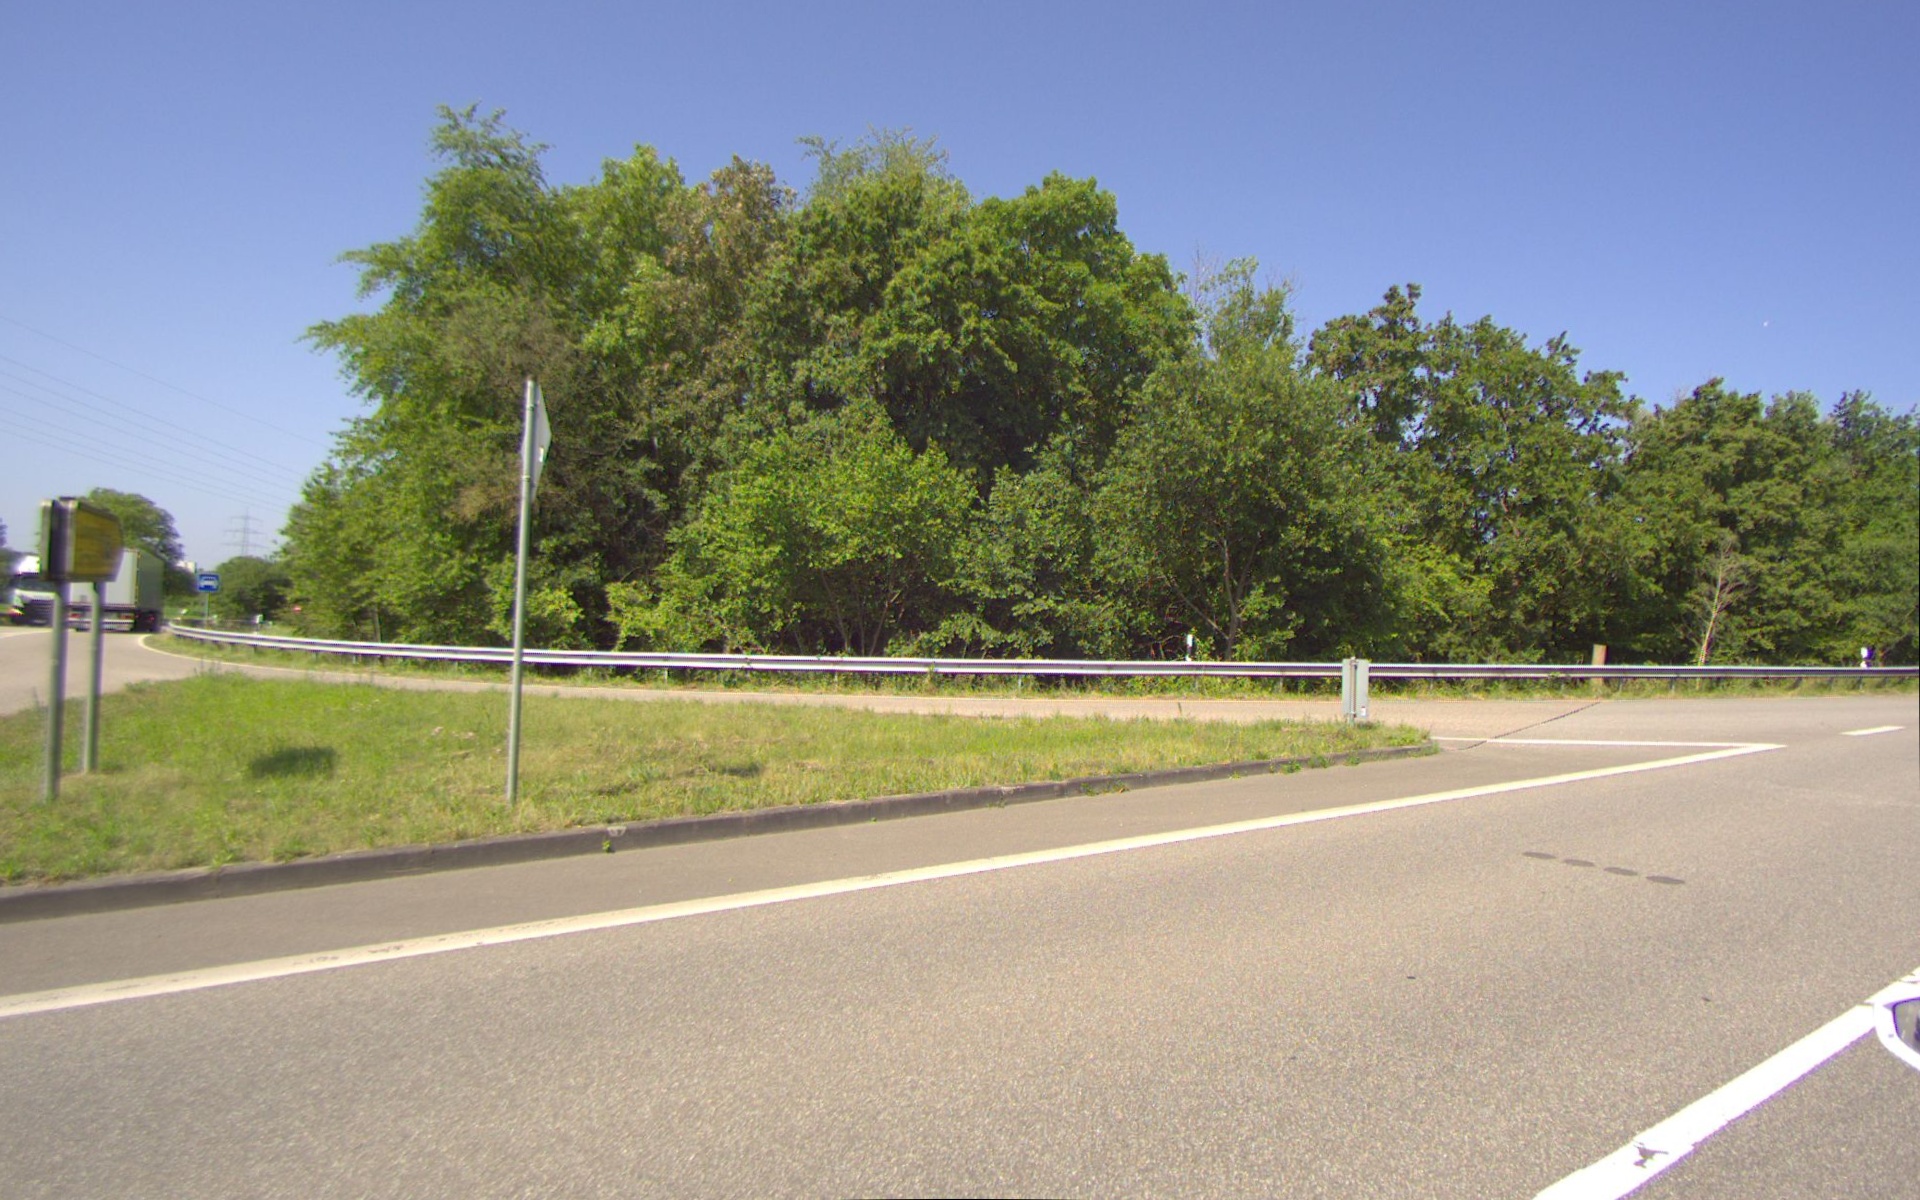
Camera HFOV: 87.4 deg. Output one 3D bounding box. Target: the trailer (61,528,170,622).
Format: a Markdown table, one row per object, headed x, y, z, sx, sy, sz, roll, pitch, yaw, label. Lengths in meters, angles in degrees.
| x | y | z | sx | sy | sz | roll | pitch | yaw | label |
| --- | --- | --- | --- | --- | --- | --- | --- | --- | --- |
| -43.453 | -1.184 | 52.130 | 2.867 | 4.220 | 13.845 | 2 | 0 | -34 | trailer |

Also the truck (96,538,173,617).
| x | y | z | sx | sy | sz | roll | pitch | yaw | label |
| --- | --- | --- | --- | --- | --- | --- | --- | --- | --- |
| -47.107 | -1.229 | 57.472 | 2.851 | 4.229 | 5.912 | 1 | 0 | -35 | truck |

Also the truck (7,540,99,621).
| x | y | z | sx | sy | sz | roll | pitch | yaw | label |
| --- | --- | --- | --- | --- | --- | --- | --- | --- | --- |
| -52.895 | -1.045 | 58.743 | 2.911 | 4.293 | 5.679 | 4 | -3 | -34 | truck |

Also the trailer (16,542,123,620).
| x | y | z | sx | sy | sz | roll | pitch | yaw | label |
| --- | --- | --- | --- | --- | --- | --- | --- | --- | --- |
| -56.369 | -1.017 | 64.009 | 2.901 | 4.295 | 13.851 | 4 | -3 | -33 | trailer |
